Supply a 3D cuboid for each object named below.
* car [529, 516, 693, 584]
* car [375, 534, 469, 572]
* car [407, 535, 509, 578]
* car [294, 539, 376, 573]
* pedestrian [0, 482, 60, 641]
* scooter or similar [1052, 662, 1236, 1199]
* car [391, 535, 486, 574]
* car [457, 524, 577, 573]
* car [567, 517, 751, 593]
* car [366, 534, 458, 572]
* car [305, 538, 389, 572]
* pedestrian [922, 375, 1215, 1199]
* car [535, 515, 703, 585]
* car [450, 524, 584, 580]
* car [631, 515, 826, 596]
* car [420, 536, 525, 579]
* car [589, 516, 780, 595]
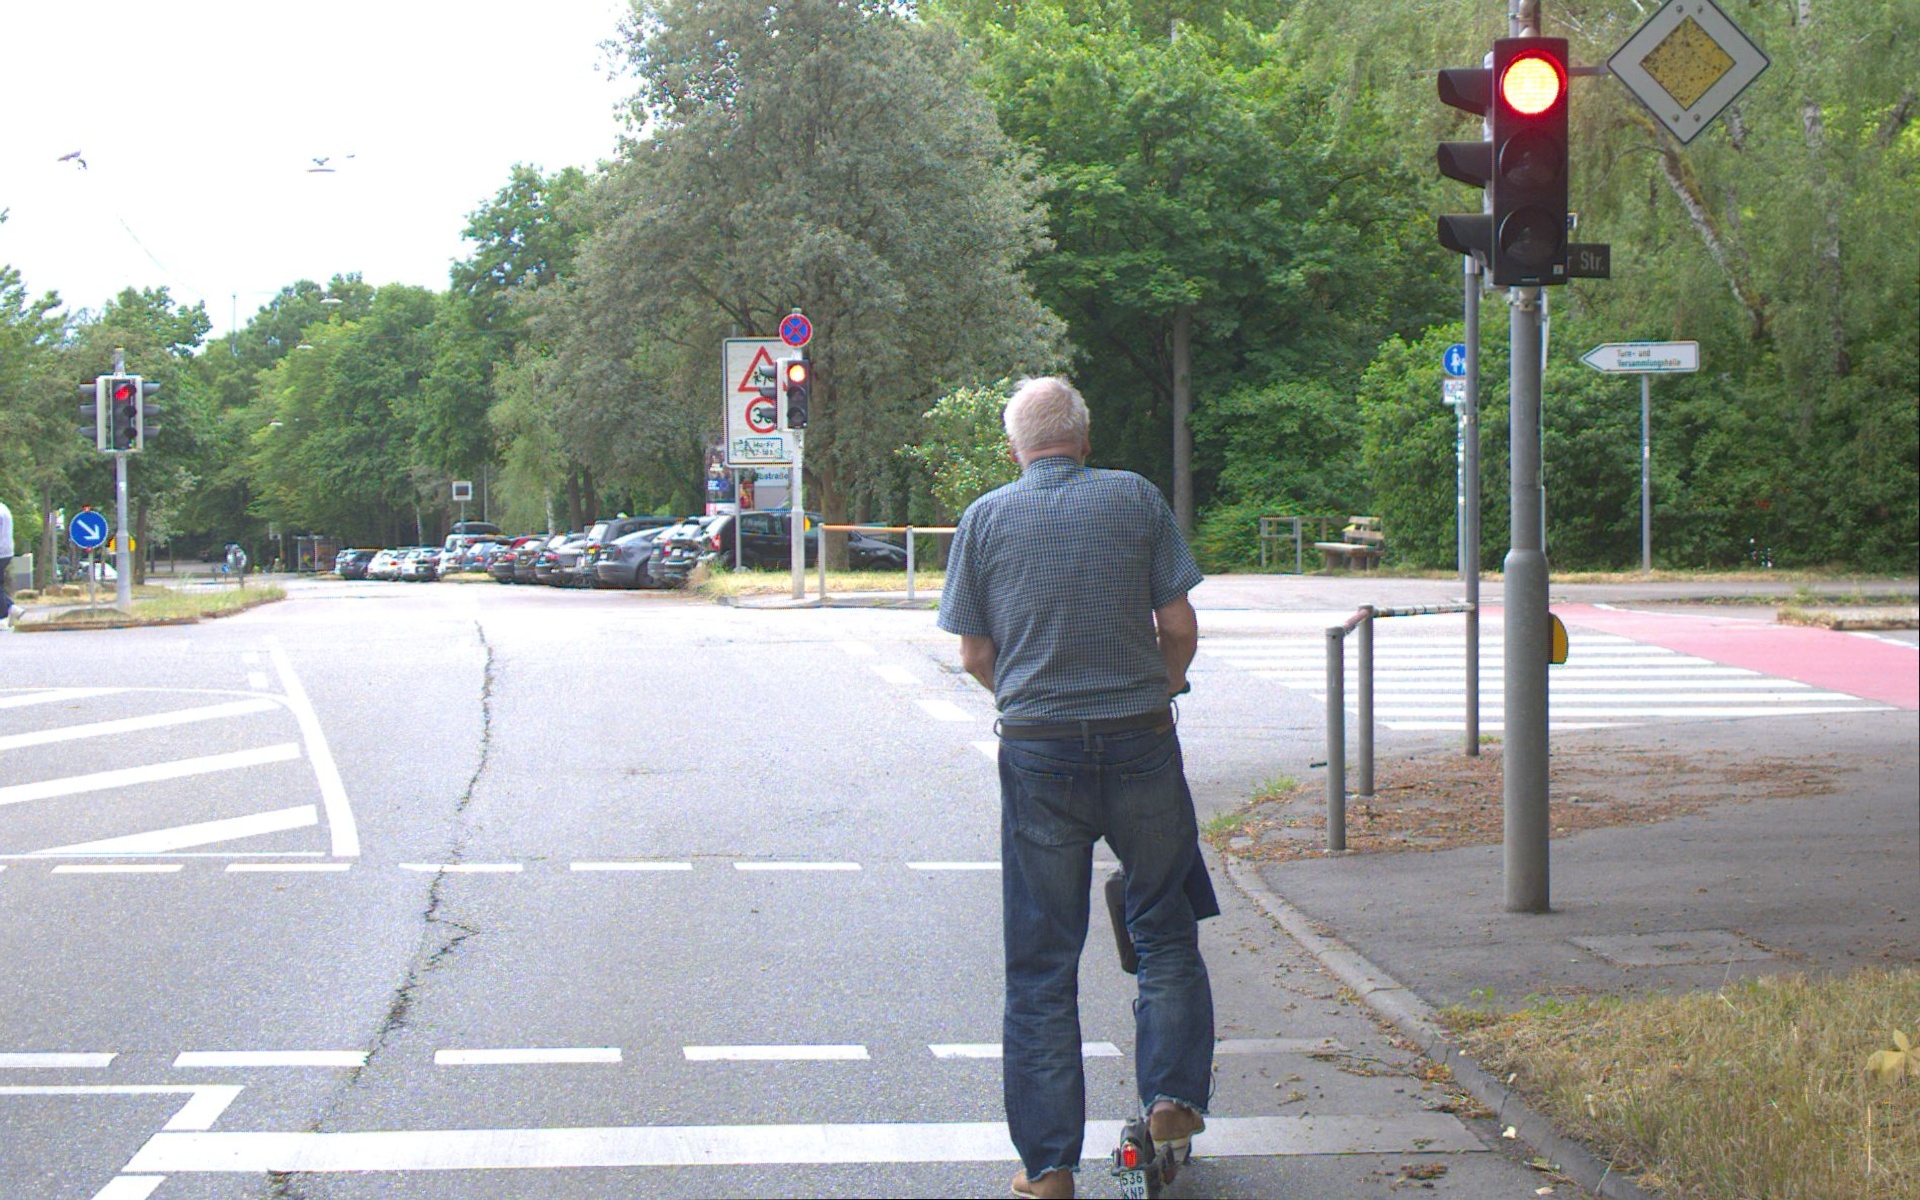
[{"bbox_3d":[-9.038,-1.314,89.060,3.840,1.605,1.729,-3,2,-23],"label":"car"},{"bbox_3d":[-24.439,-2.138,156.203,3.840,1.605,1.729,-3,2,-23],"label":"car"},{"bbox_3d":[-20.844,-1.813,142.767,3.840,1.605,1.729,-3,2,-23],"label":"car"},{"bbox_3d":[-32.338,-2.292,177.974,3.840,1.605,1.729,-3,2,-23],"label":"car"},{"bbox_3d":[-11.191,-0.461,40.784,0.884,1.856,0.574,-1,1,-8],"label":"pedestrian"},{"bbox_3d":[0.412,0.749,7.395,0.282,1.174,1.177,-1,1,8],"label":"scooter or similar"},{"bbox_3d":[-23.365,-2.040,154.071,3.840,1.605,1.729,-3,2,-23],"label":"car"},{"bbox_3d":[-15.696,-1.839,121.890,3.840,1.605,1.729,-3,2,-23],"label":"car"},{"bbox_3d":[-6.950,-1.055,79.300,3.840,1.605,1.729,-3,2,-23],"label":"car"},{"bbox_3d":[-25.310,-2.196,158.713,3.840,1.605,1.729,-3,2,-23],"label":"car"},{"bbox_3d":[-31.316,-2.319,175.635,3.840,1.605,1.729,-3,2,-23],"label":"car"},{"bbox_3d":[0.247,0.423,7.565,0.573,1.807,0.420,-1,1,8],"label":"pedestrian"},{"bbox_3d":[-8.598,-1.268,86.647,3.840,1.605,1.729,-3,2,-23],"label":"car"},{"bbox_3d":[-14.050,-1.526,108.924,3.840,1.605,1.729,-3,2,-23],"label":"car"},{"bbox_3d":[-5.047,-0.971,74.788,3.840,1.605,1.729,-2,2,-21],"label":"car"},{"bbox_3d":[-19.739,-1.733,139.093,3.840,1.605,1.729,-3,2,-23],"label":"car"},{"bbox_3d":[-6.148,-1.002,76.759,3.841,1.605,1.728,-3,2,-24],"label":"car"}]
